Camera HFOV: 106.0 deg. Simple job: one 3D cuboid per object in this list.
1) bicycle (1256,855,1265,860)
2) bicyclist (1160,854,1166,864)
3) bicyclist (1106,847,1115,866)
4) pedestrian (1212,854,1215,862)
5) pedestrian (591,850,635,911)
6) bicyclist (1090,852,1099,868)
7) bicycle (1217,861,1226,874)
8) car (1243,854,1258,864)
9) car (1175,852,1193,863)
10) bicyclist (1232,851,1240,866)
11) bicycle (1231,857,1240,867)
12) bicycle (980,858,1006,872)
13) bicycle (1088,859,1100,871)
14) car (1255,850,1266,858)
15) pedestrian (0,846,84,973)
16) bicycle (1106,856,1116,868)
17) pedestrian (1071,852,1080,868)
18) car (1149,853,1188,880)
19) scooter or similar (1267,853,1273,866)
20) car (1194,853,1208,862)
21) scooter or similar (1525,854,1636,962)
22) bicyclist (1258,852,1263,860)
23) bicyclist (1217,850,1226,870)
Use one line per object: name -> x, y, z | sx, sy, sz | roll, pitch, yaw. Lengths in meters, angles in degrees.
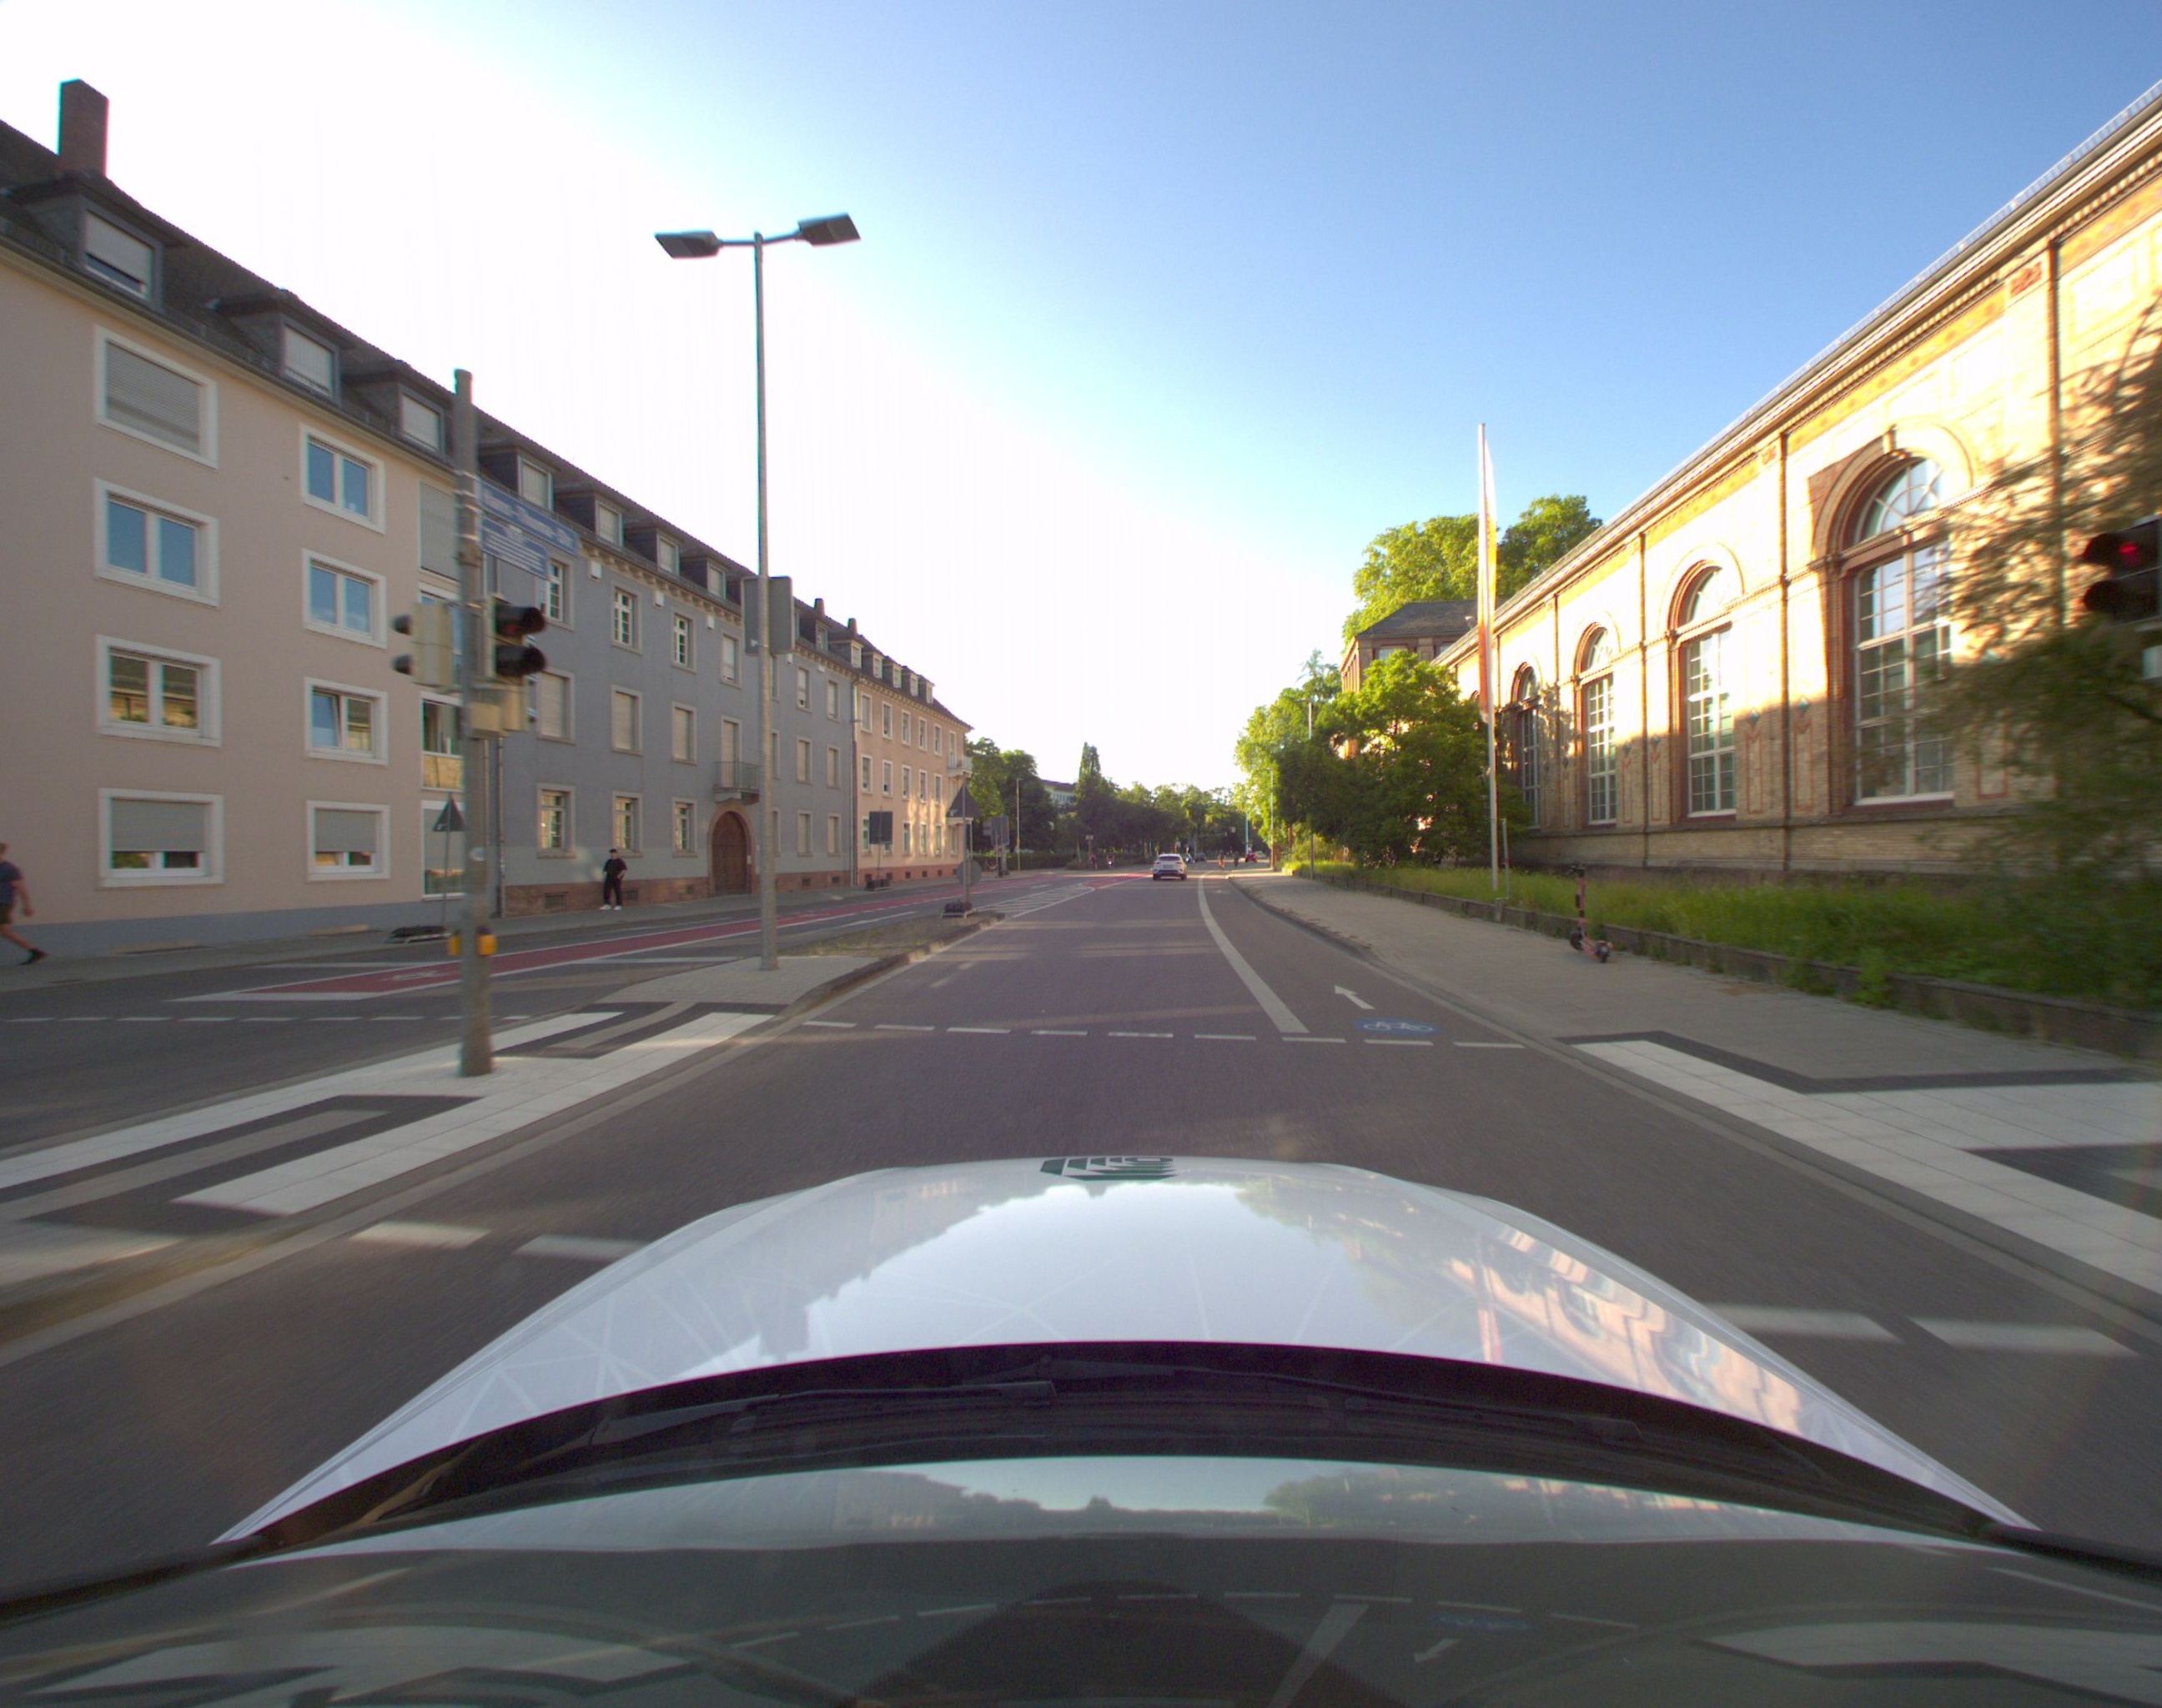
bicycle -> 36.684, 0.763, 166.510 | 1.750, 0.990, 0.515 | -1, 0, 23
bicyclist -> 12.253, 0.778, 121.920 | 0.625, 1.522, 0.727 | -4, -1, 13
bicyclist -> 2.770, 0.258, 75.392 | 0.631, 1.710, 0.741 | -4, -1, 10
pedestrian -> 34.007, 0.986, 209.161 | 0.646, 1.888, 0.666 | -2, -1, 18
pedestrian -> -14.548, 0.795, 25.332 | 0.628, 1.846, 1.015 | 2, 0, 8
bicyclist -> 1.287, 0.580, 77.470 | 0.732, 1.485, 0.667 | -3, -1, 13
bicycle -> 11.296, 1.063, 65.425 | 0.639, 1.024, 2.220 | 0, 0, 12
car -> 27.439, 0.775, 131.787 | 1.914, 1.533, 4.017 | -2, 0, 16
car -> 14.478, 0.505, 114.450 | 1.798, 1.419, 4.573 | -1, 0, 15
bicyclist -> 16.847, 0.477, 88.646 | 0.741, 1.537, 0.973 | -1, 0, 16
bicycle -> 16.834, 0.890, 88.568 | 0.747, 1.026, 1.877 | 0, -1, 16
bicycle -> -8.125, 1.000, 75.280 | 2.303, 1.230, 0.562 | -1, 0, 15
bicycle -> 1.247, 1.044, 77.319 | 0.732, 0.995, 2.117 | -2, 1, 12
car -> 35.455, 0.017, 160.946 | 1.723, 1.546, 4.018 | -1, 0, 17
pedestrian -> -16.300, 0.820, 12.451 | 0.862, 1.863, 1.017 | 1, 0, 9
bicycle -> 2.780, 0.720, 75.229 | 0.642, 0.995, 2.115 | -3, 0, 10
pedestrian -> -0.636, 0.697, 96.293 | 0.849, 1.851, 1.005 | -2, 0, 14
car -> 5.143, 0.712, 47.494 | 1.982, 1.453, 4.010 | -2, 0, 9
scooter or similar -> 17.840, 0.523, 76.938 | 0.296, 1.240, 1.161 | -2, 0, 0
car -> 19.744, 0.566, 134.001 | 1.744, 1.459, 4.018 | -1, 0, 17
scooter or similar -> 6.593, 0.661, 10.853 | 0.552, 1.308, 1.836 | -1, 0, 8
bicyclist -> 36.645, 0.418, 166.527 | 0.914, 1.509, 0.509 | -1, 0, 23
bicyclist -> 11.348, 0.478, 65.641 | 0.632, 1.614, 1.288 | 0, 0, 12
